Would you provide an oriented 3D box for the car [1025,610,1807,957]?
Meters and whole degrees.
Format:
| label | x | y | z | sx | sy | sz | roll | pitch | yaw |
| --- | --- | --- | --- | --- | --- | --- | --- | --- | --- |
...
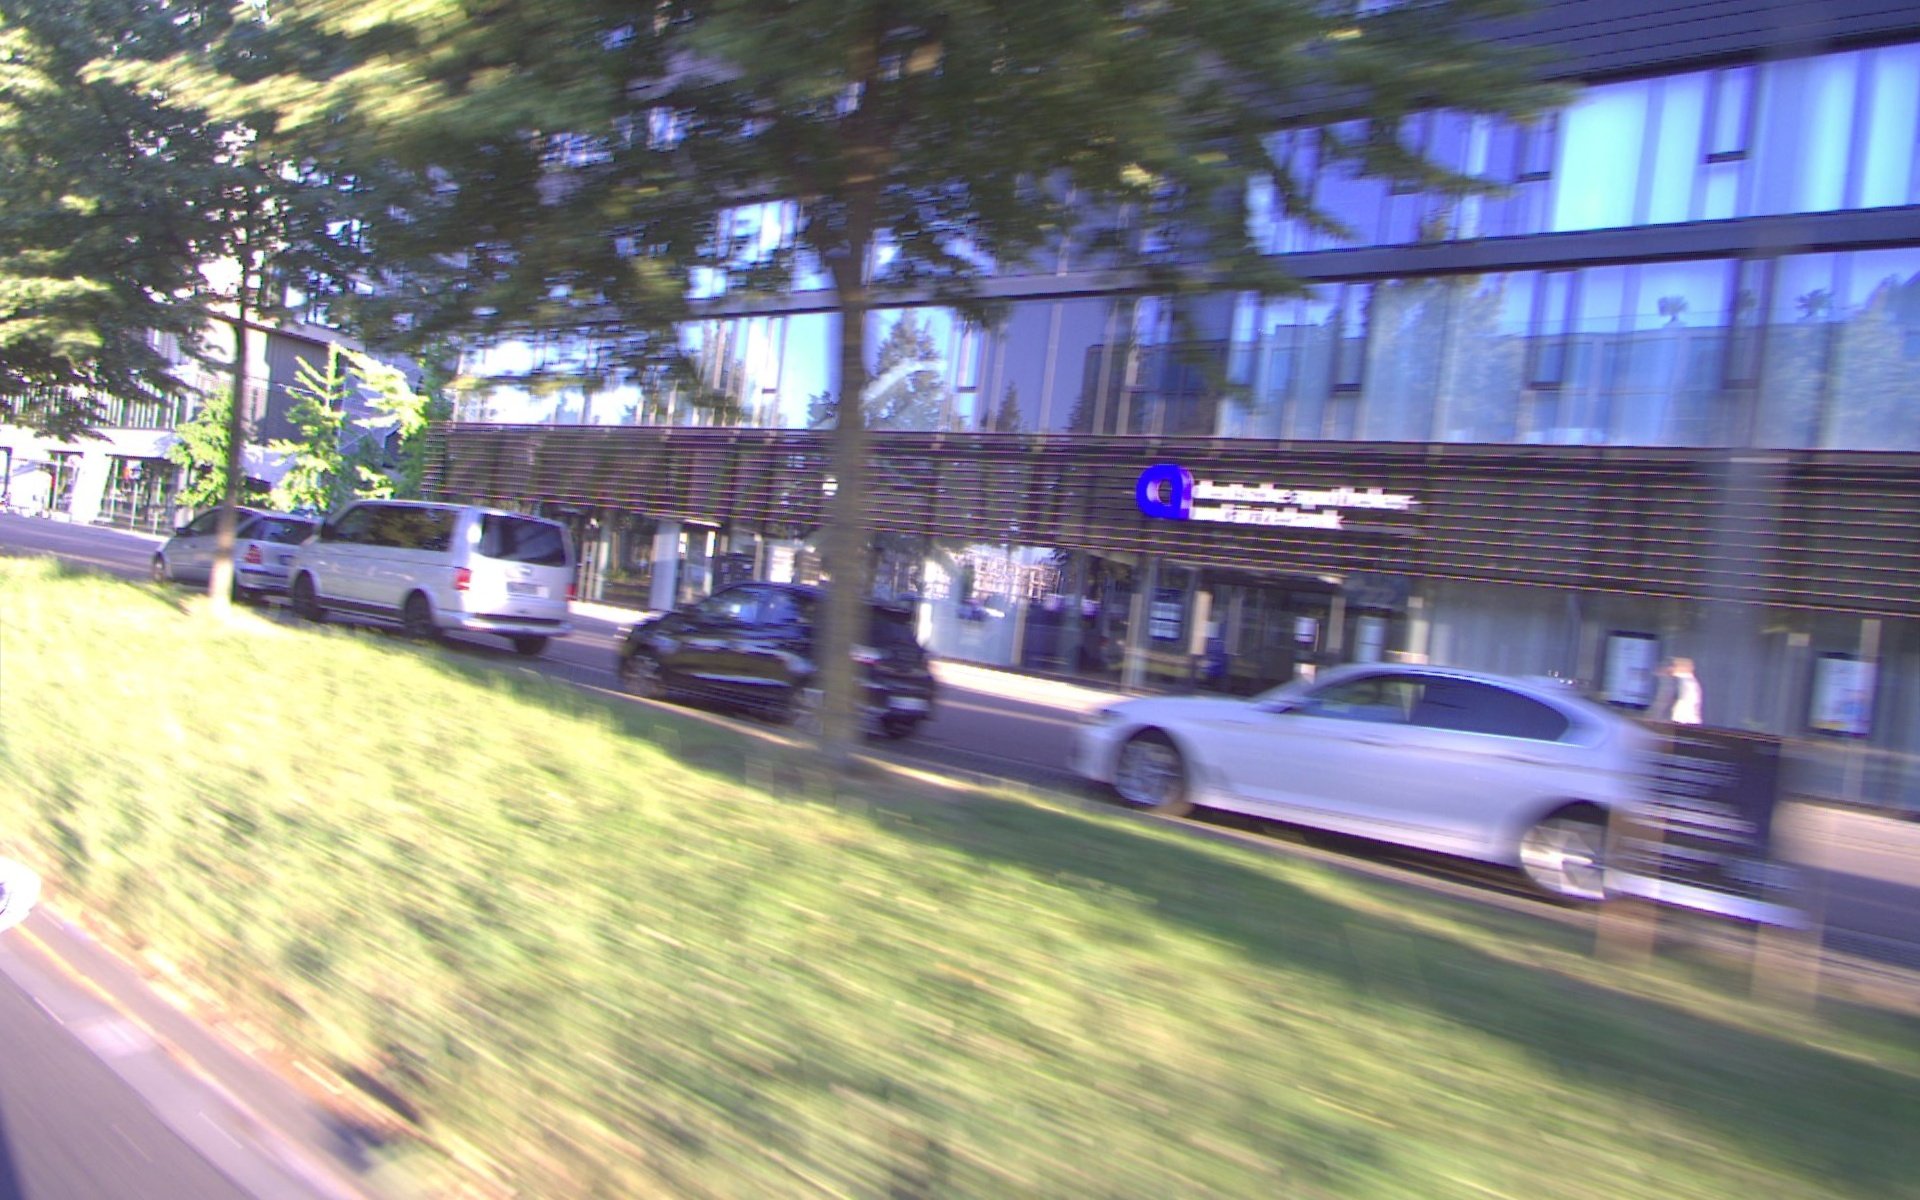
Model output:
| label | x | y | z | sx | sy | sz | roll | pitch | yaw |
| --- | --- | --- | --- | --- | --- | --- | --- | --- | --- |
| car | 3.234 | 1.178 | 8.006 | 4.956 | 1.514 | 1.921 | 7 | -1 | 30 |

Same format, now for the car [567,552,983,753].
| label | x | y | z | sx | sy | sz | roll | pitch | yaw |
| --- | --- | --- | --- | --- | --- | --- | --- | --- | --- |
| car | -2.099 | 0.515 | 11.043 | 4.219 | 1.514 | 1.862 | 7 | -1 | 32 |

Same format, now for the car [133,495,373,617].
| label | x | y | z | sx | sy | sz | roll | pitch | yaw |
| --- | --- | --- | --- | --- | --- | --- | --- | --- | --- |
| car | -12.378 | -0.780 | 17.575 | 3.993 | 1.589 | 1.842 | 7 | -1 | 31 |

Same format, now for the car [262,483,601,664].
| label | x | y | z | sx | sy | sz | roll | pitch | yaw |
| --- | --- | --- | --- | --- | --- | --- | --- | --- | --- |
| car | -7.763 | -0.424 | 14.644 | 4.850 | 2.013 | 1.990 | 7 | -1 | 31 |

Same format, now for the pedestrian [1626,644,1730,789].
| label | x | y | z | sx | sy | sz | roll | pitch | yaw |
| --- | --- | --- | --- | --- | --- | --- | --- | --- | --- |
| pedestrian | 9.900 | 1.579 | 13.922 | 0.897 | 1.819 | 0.898 | 7 | 1 | 30 |
